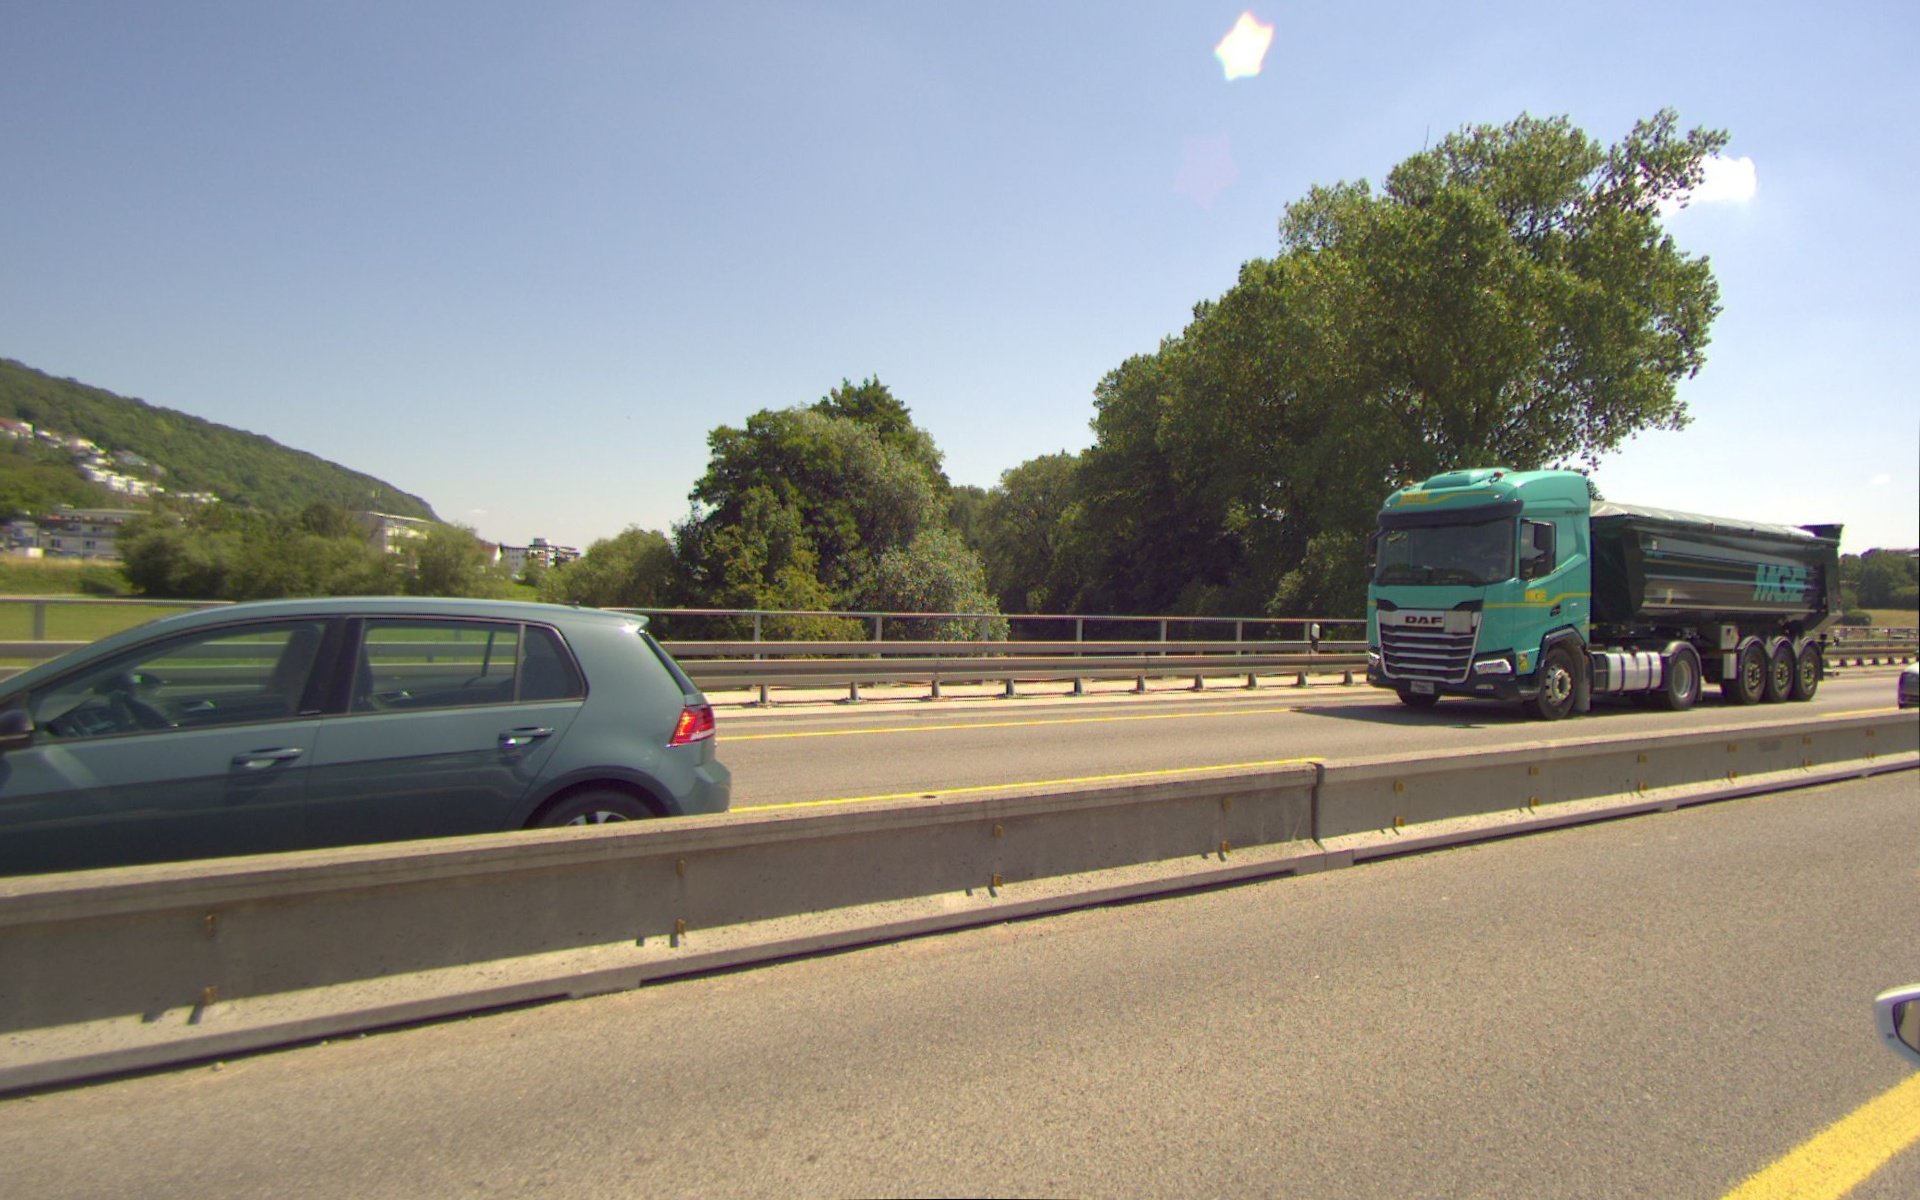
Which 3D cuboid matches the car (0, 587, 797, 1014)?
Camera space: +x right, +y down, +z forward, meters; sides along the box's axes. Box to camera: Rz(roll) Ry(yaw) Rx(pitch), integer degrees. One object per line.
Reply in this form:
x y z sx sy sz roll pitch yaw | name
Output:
-2.930 0.702 4.482 4.056 1.427 1.623 1 -2 -31 | car

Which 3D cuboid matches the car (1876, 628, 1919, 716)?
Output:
17.495 1.185 16.969 4.658 1.398 1.772 1 -2 -32 | car

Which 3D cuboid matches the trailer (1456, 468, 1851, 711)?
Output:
13.265 -0.065 18.890 8.856 3.721 2.779 1 0 -32 | trailer

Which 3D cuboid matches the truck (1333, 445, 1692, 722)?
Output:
8.994 -0.177 16.289 5.313 3.771 2.782 1 0 -31 | truck
